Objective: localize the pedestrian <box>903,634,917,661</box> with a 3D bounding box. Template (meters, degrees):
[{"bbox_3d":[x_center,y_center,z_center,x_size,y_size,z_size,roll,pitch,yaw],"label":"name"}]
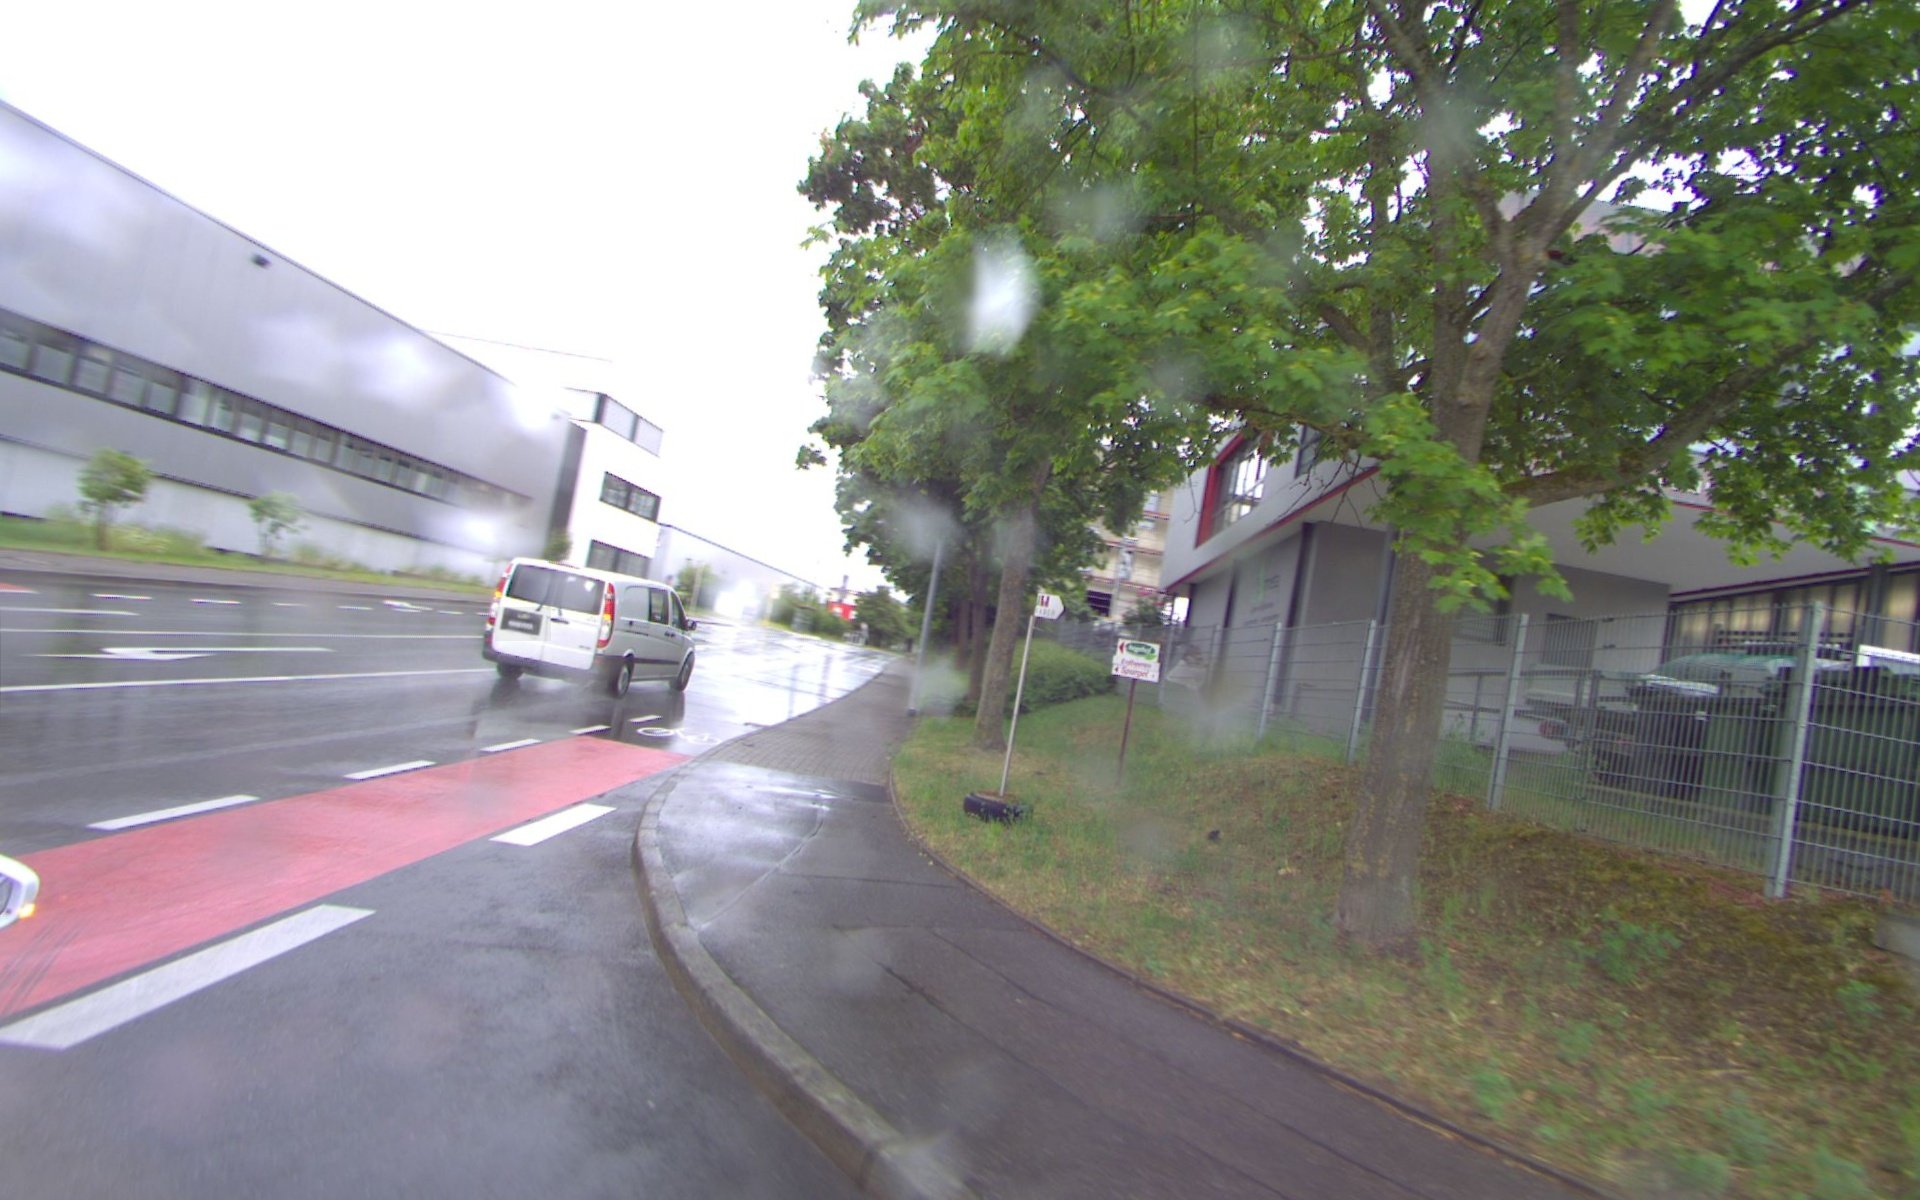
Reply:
[{"bbox_3d":[-3.805,3.598,76.544,0.765,1.927,0.729,8,-3,-1],"label":"pedestrian"}]

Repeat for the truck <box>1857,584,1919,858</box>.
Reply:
[{"bbox_3d":[10.682,1.348,8.129,4.750,2.368,2.251,8,-2,-3],"label":"truck"}]

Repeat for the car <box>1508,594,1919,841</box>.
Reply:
[{"bbox_3d":[9.057,1.342,10.971,4.848,2.036,2.065,8,-2,-1],"label":"car"}]

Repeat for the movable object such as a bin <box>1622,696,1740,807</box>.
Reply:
[{"bbox_3d":[6.025,1.252,8.428,0.530,0.810,0.523,8,-2,1],"label":"movable object such as a bin"}]

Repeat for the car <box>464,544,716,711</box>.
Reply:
[{"bbox_3d":[-5.748,0.508,16.560,1.870,2.040,5.378,8,-3,1],"label":"car"}]

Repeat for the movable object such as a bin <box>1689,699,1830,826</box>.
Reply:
[{"bbox_3d":[6.034,1.211,7.619,0.530,0.827,0.567,8,-2,1],"label":"movable object such as a bin"}]

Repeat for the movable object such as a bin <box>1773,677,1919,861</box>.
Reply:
[{"bbox_3d":[6.083,1.085,6.408,0.867,1.054,1.054,8,-2,3],"label":"movable object such as a bin"}]
